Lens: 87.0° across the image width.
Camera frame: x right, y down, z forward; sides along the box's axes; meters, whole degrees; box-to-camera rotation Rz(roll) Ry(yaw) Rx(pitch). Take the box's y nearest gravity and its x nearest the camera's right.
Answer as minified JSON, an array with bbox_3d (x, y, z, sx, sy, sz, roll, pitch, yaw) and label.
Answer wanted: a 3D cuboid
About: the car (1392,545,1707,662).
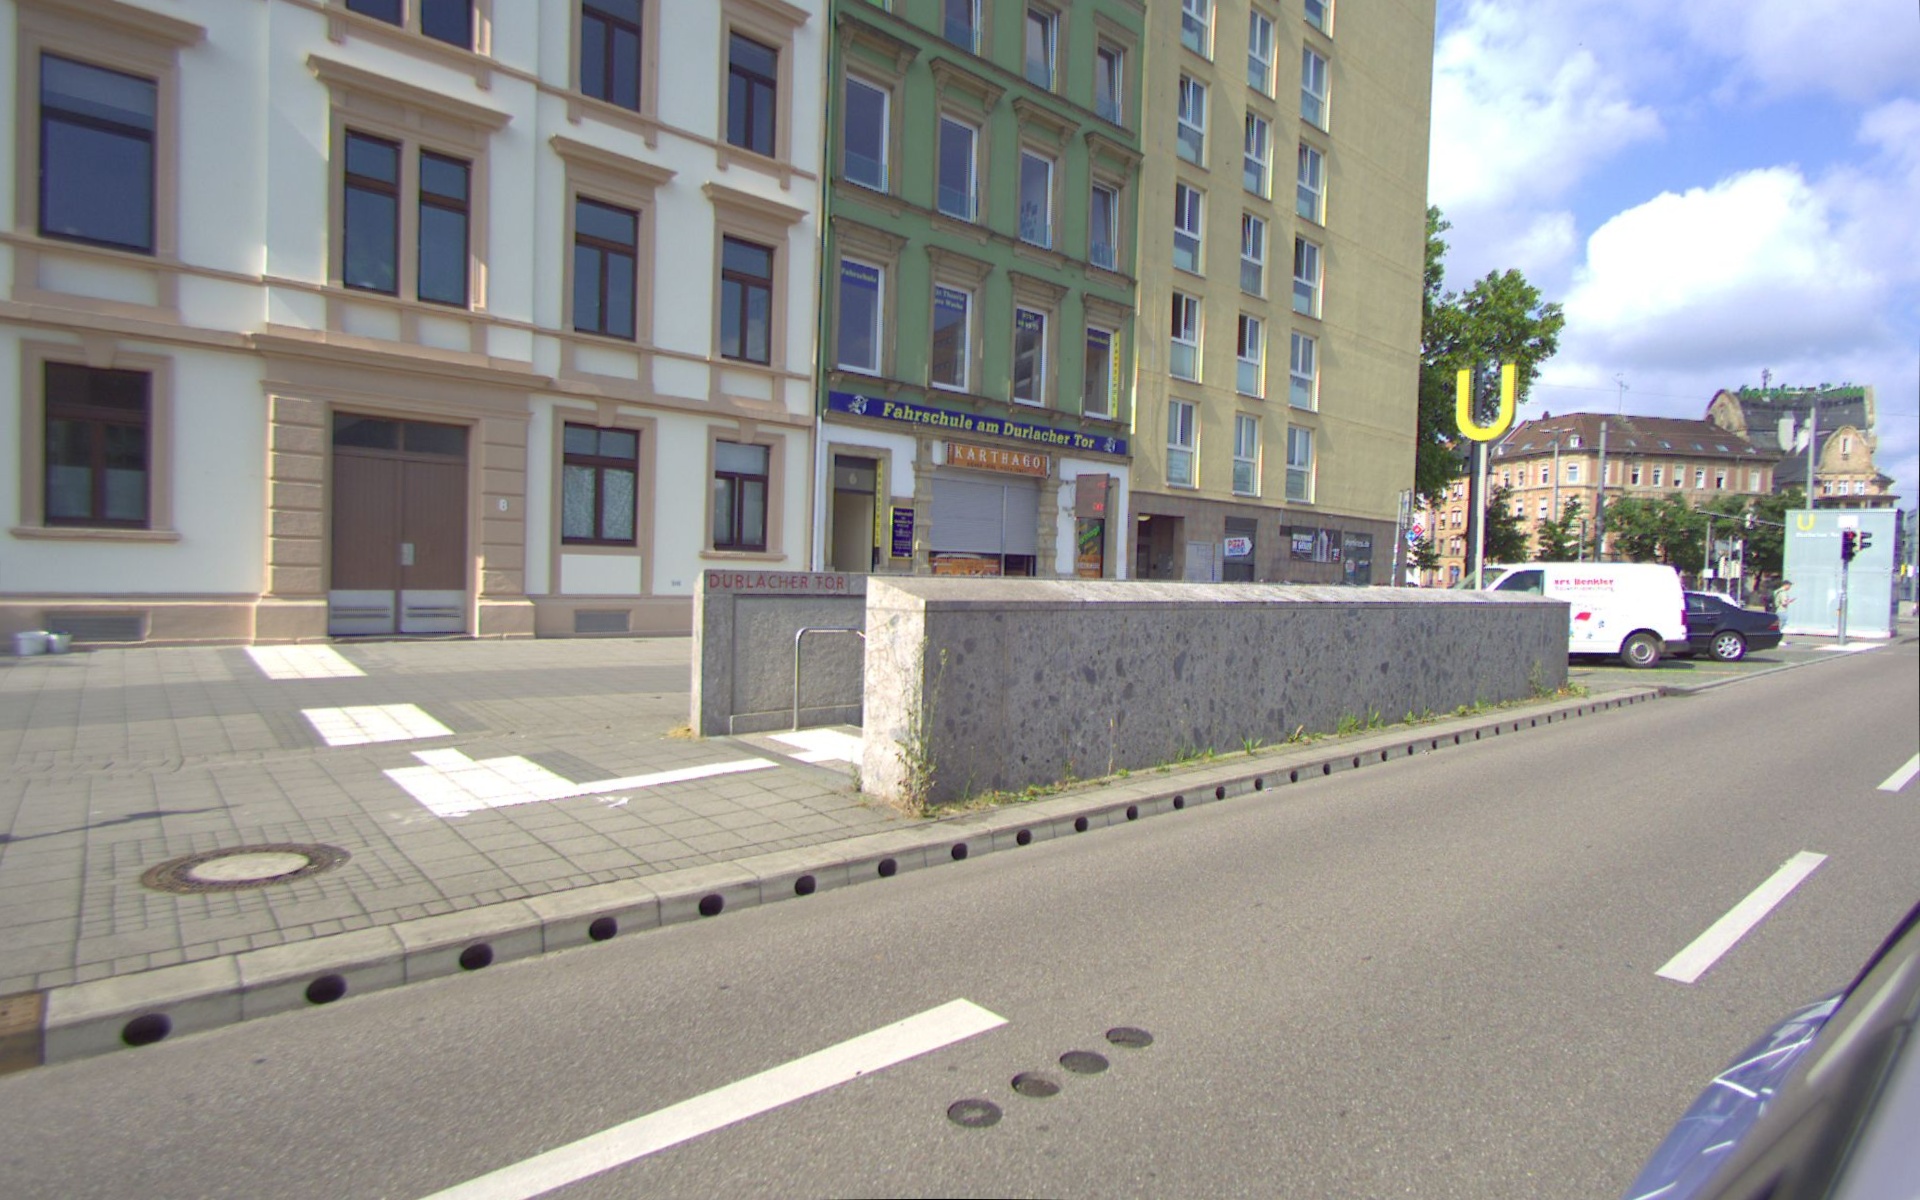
[{"bbox_3d":[11.228,0.063,19.623,4.811,2.111,2.077,0,-1,4],"label":"car"}]

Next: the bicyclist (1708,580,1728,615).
[{"bbox_3d":[39.778,-0.140,53.107,0.709,1.766,0.815,4,4,43],"label":"bicyclist"}]

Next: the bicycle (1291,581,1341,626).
[{"bbox_3d":[10.006,0.101,28.421,1.614,1.216,0.488,0,1,-37],"label":"bicycle"}]

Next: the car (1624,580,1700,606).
[{"bbox_3d":[45.920,-0.484,66.268,1.789,1.531,4.007,-3,2,-8],"label":"car"}]

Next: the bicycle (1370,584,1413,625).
[{"bbox_3d":[13.853,0.133,32.479,1.614,1.288,0.488,0,1,-37],"label":"bicycle"}]

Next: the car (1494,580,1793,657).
[{"bbox_3d":[14.550,0.347,21.830,4.979,1.487,1.887,1,1,8],"label":"car"}]

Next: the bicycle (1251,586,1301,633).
[{"bbox_3d":[8.427,0.246,26.970,1.617,1.216,0.487,0,1,-41],"label":"bicycle"}]

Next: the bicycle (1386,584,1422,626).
[{"bbox_3d":[13.972,0.150,31.850,0.486,1.288,1.862,2,1,41],"label":"bicycle"}]

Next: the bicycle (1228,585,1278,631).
[{"bbox_3d":[7.935,0.207,27.345,1.617,1.216,0.487,0,1,-41],"label":"bicycle"}]

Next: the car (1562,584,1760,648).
[{"bbox_3d":[16.615,0.359,24.148,3.454,1.459,1.715,0,0,9],"label":"car"}]

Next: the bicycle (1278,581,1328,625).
[{"bbox_3d":[9.824,0.090,28.964,1.614,1.216,0.488,0,1,-37],"label":"bicycle"}]

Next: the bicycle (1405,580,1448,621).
[{"bbox_3d":[15.250,0.020,33.081,1.614,1.288,0.531,0,1,-37],"label":"bicycle"}]

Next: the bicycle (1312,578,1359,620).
[{"bbox_3d":[11.172,-0.030,30.079,1.614,1.216,0.488,0,1,-37],"label":"bicycle"}]

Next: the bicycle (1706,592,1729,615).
[{"bbox_3d":[39.767,0.170,53.099,0.786,1.141,1.962,3,3,41],"label":"bicycle"}]

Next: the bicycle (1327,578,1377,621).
[{"bbox_3d":[11.469,-0.028,29.599,1.614,1.216,0.549,0,1,-37],"label":"bicycle"}]

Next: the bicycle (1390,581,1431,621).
[{"bbox_3d":[14.910,0.023,33.500,1.614,1.288,0.488,0,1,-37],"label":"bicycle"}]

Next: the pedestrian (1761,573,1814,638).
[{"bbox_3d":[23.157,0.150,28.336,0.985,1.781,0.779,-1,2,25],"label":"pedestrian"}]
